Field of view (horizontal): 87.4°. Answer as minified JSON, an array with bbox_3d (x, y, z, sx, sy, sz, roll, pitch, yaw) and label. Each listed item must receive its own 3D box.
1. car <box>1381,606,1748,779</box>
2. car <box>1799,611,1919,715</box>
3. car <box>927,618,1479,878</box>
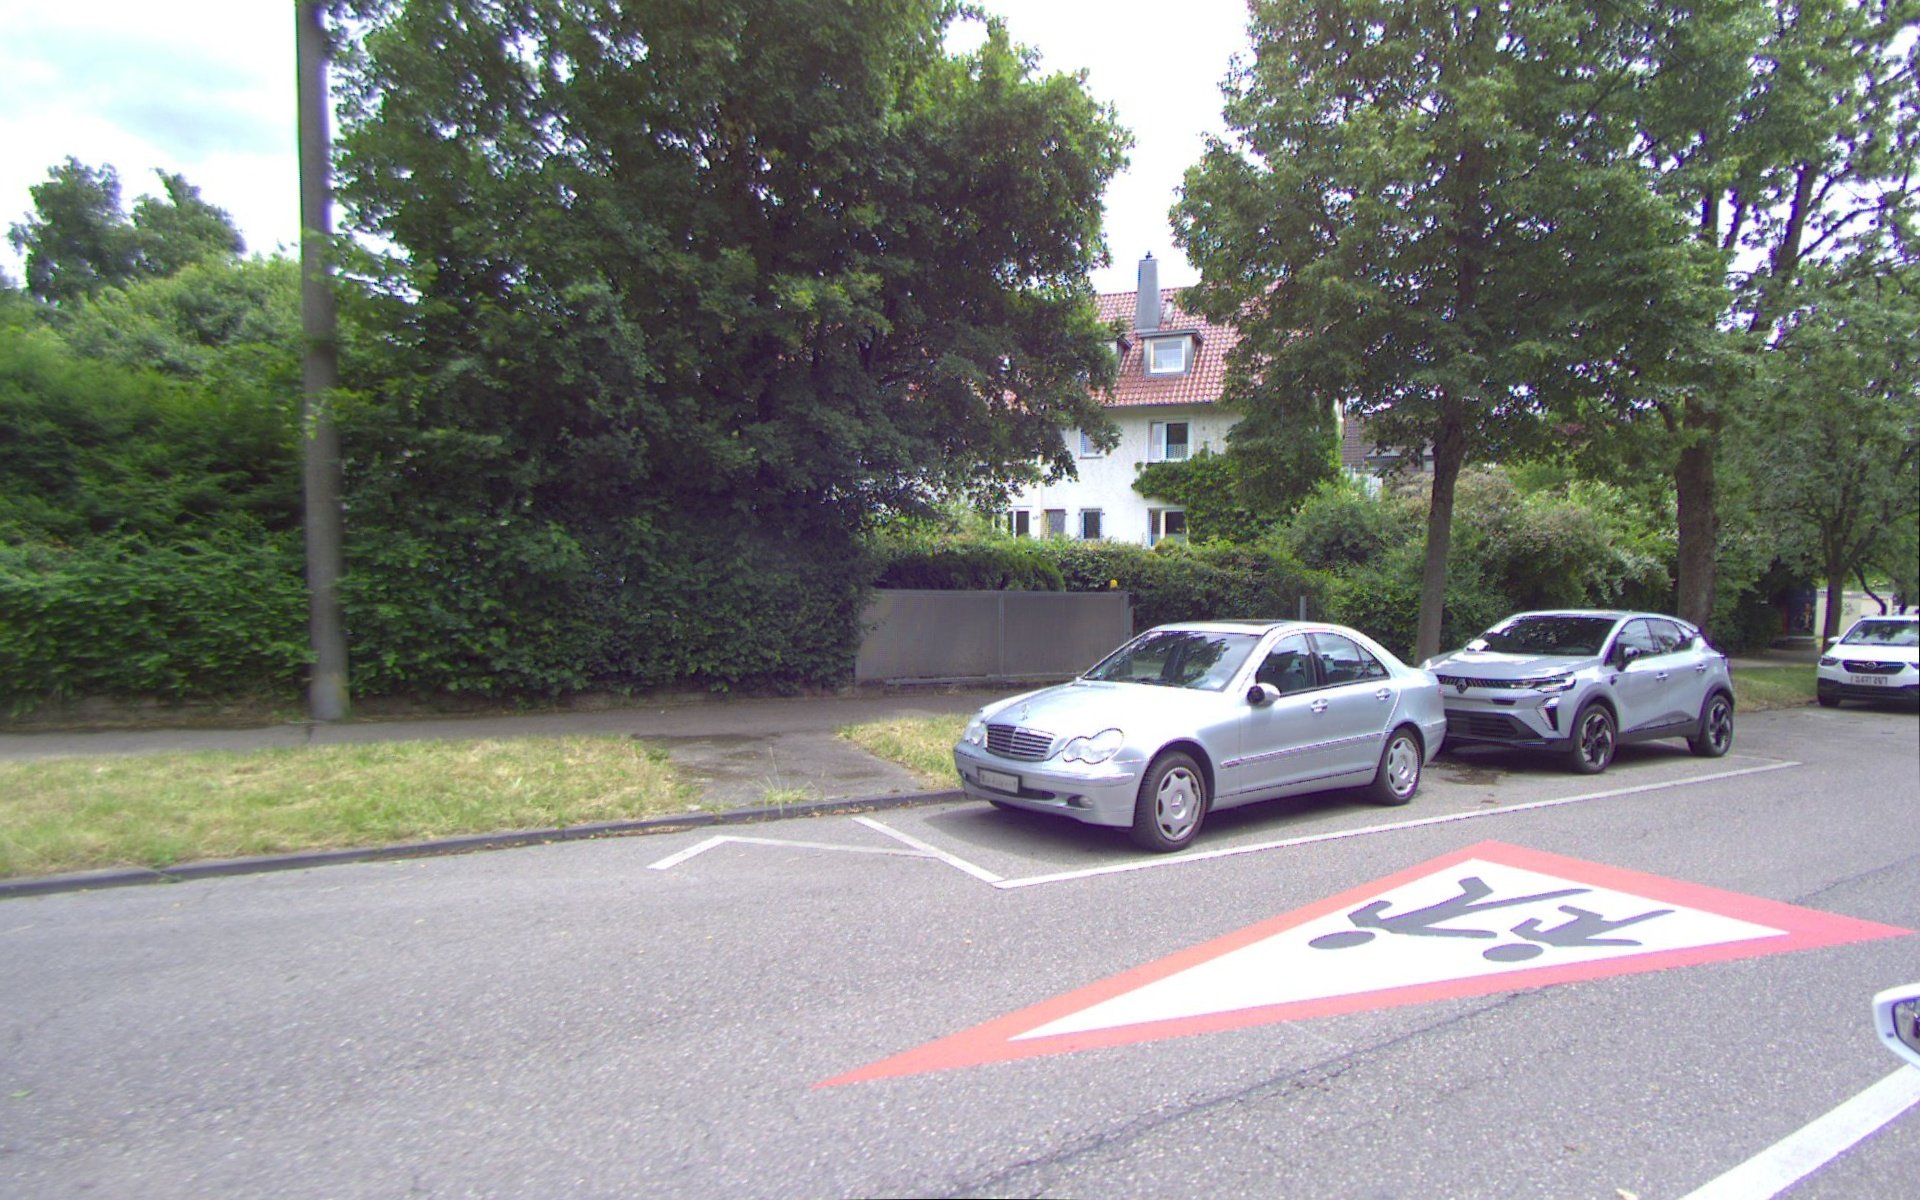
[{"bbox_3d":[6.648,0.869,10.938,4.142,1.558,1.726,1,0,-32],"label":"car"},{"bbox_3d":[16.319,1.017,17.386,4.099,1.600,1.724,1,0,-35],"label":"car"},{"bbox_3d":[2.042,0.870,7.689,4.431,1.435,1.722,1,0,-38],"label":"car"}]
